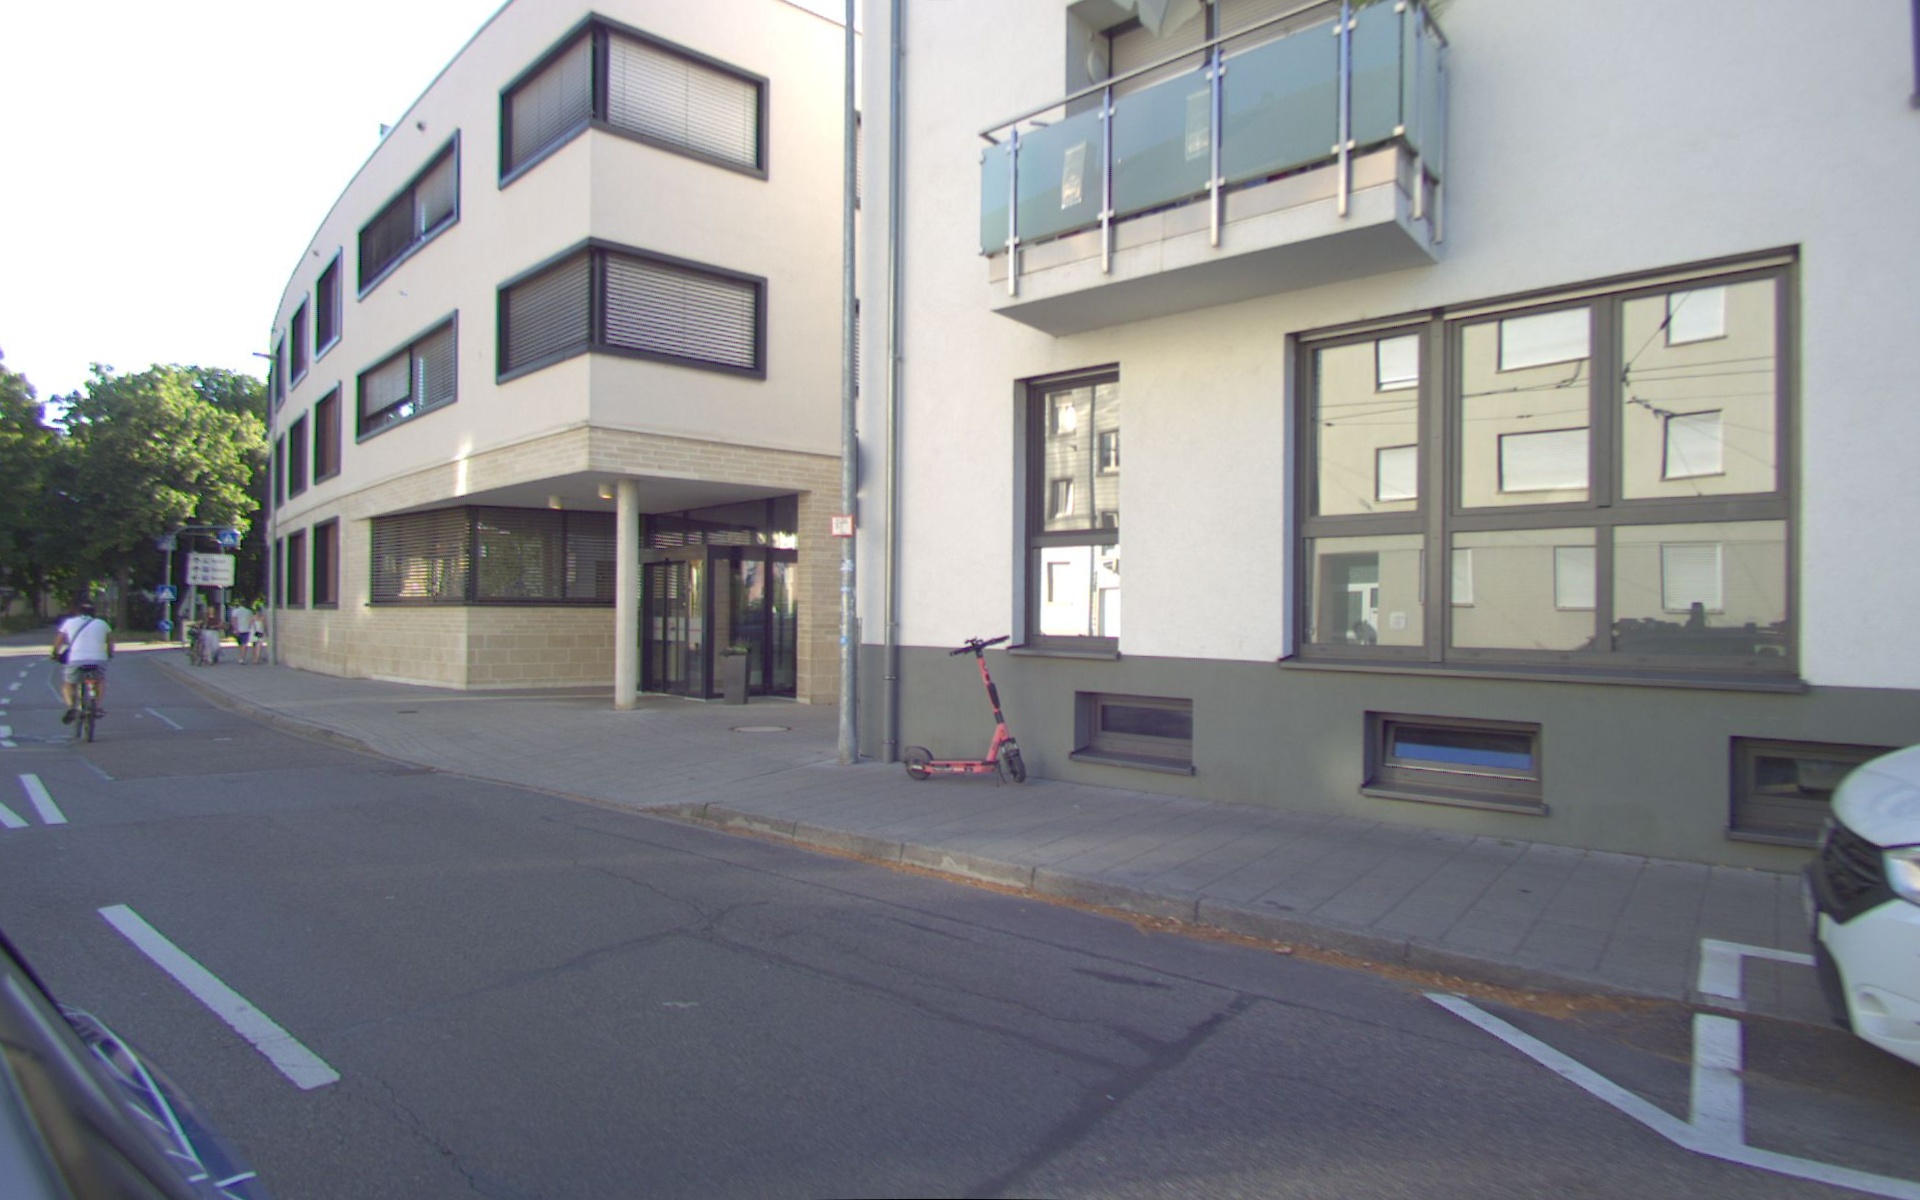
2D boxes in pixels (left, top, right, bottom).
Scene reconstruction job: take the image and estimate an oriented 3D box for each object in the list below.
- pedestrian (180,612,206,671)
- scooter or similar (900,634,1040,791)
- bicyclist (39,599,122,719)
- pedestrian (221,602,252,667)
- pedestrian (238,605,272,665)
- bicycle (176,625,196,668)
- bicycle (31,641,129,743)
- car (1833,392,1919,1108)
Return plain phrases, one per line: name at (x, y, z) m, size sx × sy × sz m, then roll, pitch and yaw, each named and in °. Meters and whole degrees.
pedestrian at (-21.860, 1.175, 28.853) m, size 0.467 × 1.660 × 0.604 m, roll 2°, pitch -2°, yaw -32°
scooter or similar at (0.068, 0.904, 8.338) m, size 1.148 × 1.229 × 0.223 m, roll -1°, pitch -1°, yaw 26°
bicyclist at (-10.653, 0.691, 12.256) m, size 0.800 × 1.390 × 0.616 m, roll 0°, pitch -1°, yaw 40°
pedestrian at (-21.074, 0.980, 29.465) m, size 0.598 × 1.863 × 0.994 m, roll 0°, pitch 0°, yaw -43°
pedestrian at (-20.765, 1.013, 29.805) m, size 0.694 × 1.727 × 0.843 m, roll 0°, pitch 0°, yaw -43°
bicycle at (-22.053, 1.317, 28.854) m, size 0.434 × 1.187 × 1.971 m, roll 0°, pitch -1°, yaw -37°
bicycle at (-10.680, 1.072, 12.266) m, size 1.782 × 1.089 × 0.616 m, roll 0°, pitch -1°, yaw 41°
car at (4.755, 0.386, 2.085) m, size 4.326 × 1.884 × 1.794 m, roll -1°, pitch -2°, yaw 37°
